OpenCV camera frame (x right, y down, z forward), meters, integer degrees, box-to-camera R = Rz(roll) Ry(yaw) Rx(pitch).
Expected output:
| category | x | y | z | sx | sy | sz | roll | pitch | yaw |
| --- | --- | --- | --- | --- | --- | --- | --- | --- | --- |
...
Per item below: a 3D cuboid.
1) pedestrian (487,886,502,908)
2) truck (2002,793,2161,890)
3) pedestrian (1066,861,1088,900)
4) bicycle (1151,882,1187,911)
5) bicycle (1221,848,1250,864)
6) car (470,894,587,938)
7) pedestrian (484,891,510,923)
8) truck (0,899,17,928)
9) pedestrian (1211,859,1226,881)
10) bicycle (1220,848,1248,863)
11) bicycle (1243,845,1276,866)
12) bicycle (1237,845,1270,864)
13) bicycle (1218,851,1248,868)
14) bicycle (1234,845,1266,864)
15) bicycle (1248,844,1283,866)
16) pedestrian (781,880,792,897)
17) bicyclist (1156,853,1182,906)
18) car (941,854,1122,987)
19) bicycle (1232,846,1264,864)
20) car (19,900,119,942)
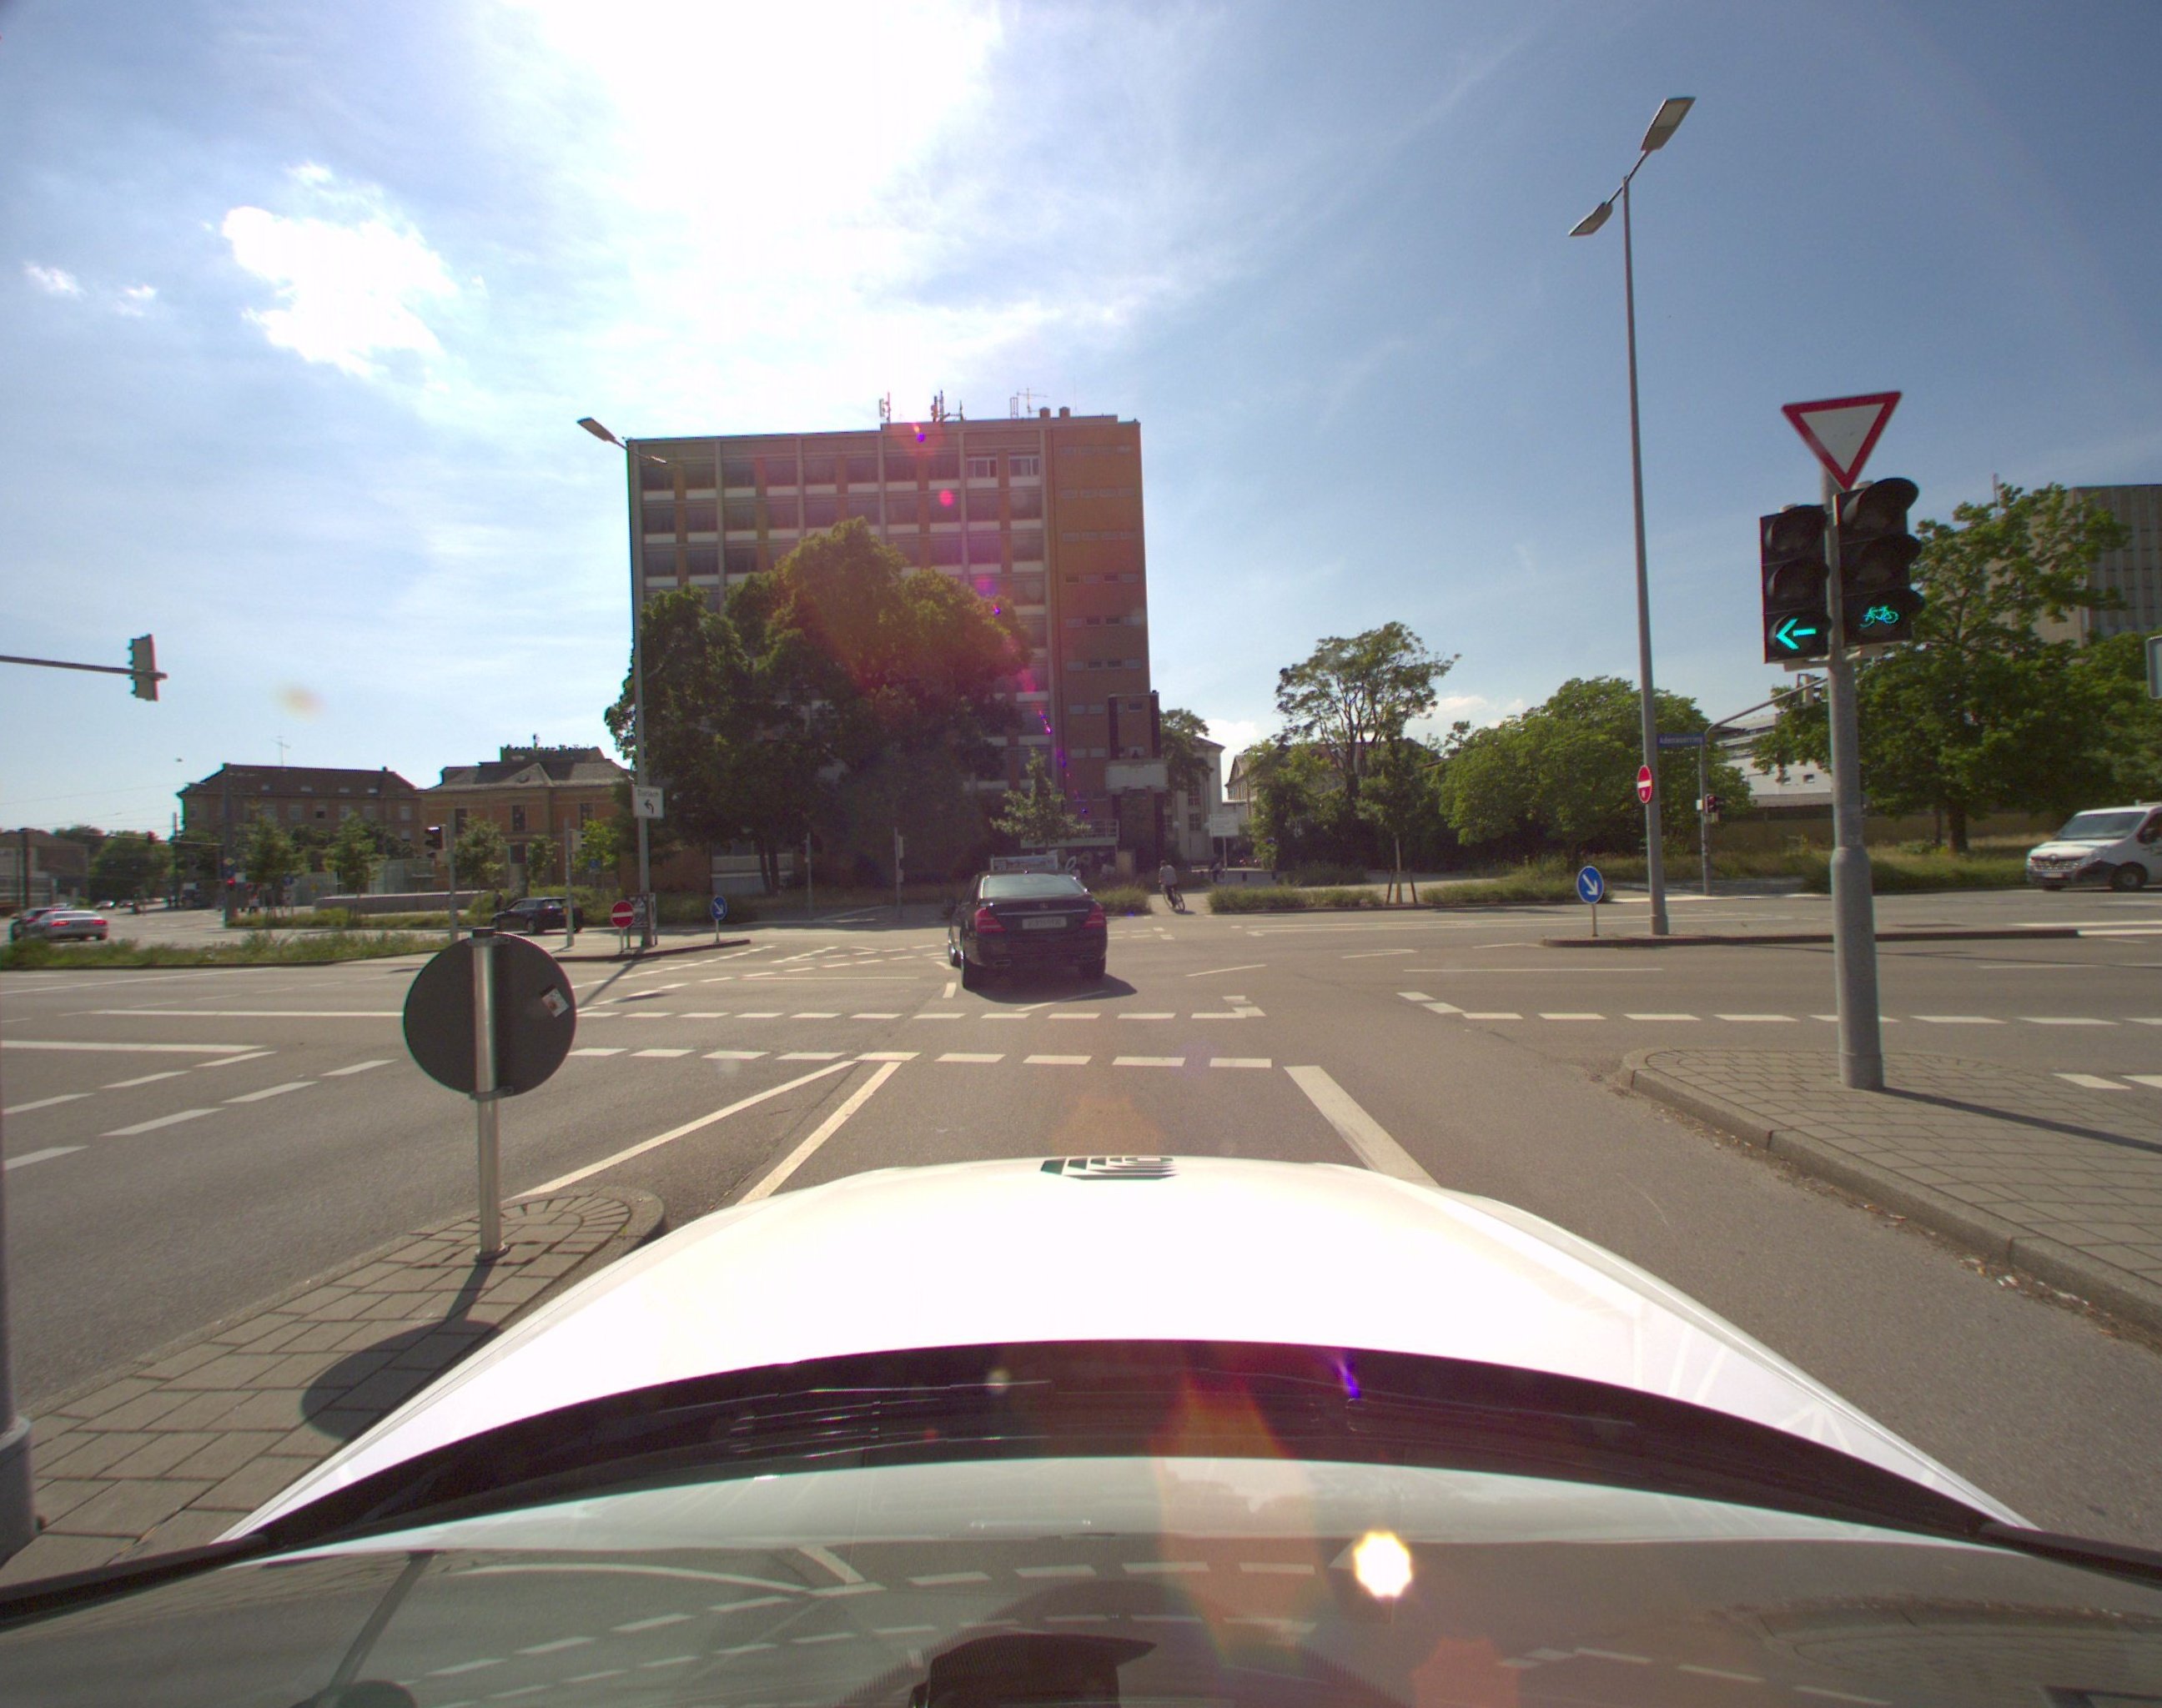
| category | x | y | z | sx | sy | sz | roll | pitch | yaw |
| --- | --- | --- | --- | --- | --- | --- | --- | --- | --- |
| pedestrian | -44.747 | 3.275 | 62.141 | 0.644 | 1.661 | 0.652 | -3 | -1 | 9 |
| truck | 29.272 | -0.413 | 21.455 | 6.997 | 2.356 | 2.414 | -3 | -2 | 2 |
| pedestrian | -0.181 | 1.122 | 34.637 | 0.808 | 1.579 | 0.693 | -3 | -1 | 3 |
| bicycle | 3.150 | 1.504 | 29.282 | 0.693 | 0.946 | 1.950 | 0 | 0 | -12 |
| bicycle | 16.115 | 0.186 | 84.887 | 2.813 | 1.500 | 0.842 | -3 | 0 | 0 |
| car | -21.013 | 2.344 | 30.962 | 3.951 | 1.510 | 1.810 | -3 | -2 | 23 |
| pedestrian | -32.457 | 2.942 | 45.245 | 0.790 | 1.725 | 0.878 | -3 | -1 | 24 |
| truck | -140.838 | 7.752 | 104.505 | 3.087 | 3.730 | 7.842 | -2 | -1 | -36 |
| pedestrian | 7.501 | 0.871 | 44.332 | 0.788 | 1.214 | 0.759 | 0 | -1 | 8 |
| bicycle | 16.148 | 0.164 | 86.075 | 2.813 | 1.480 | 0.842 | -3 | 0 | 0 |
| bicycle | 16.224 | 0.108 | 74.115 | 2.813 | 1.744 | 0.842 | -3 | 0 | 0 |
| bicycle | 15.999 | 0.049 | 75.618 | 2.813 | 1.649 | 0.842 | -3 | 0 | 0 |
| bicycle | 15.388 | 0.549 | 82.682 | 2.813 | 1.559 | 0.842 | -3 | 0 | 0 |
| bicycle | 15.934 | 0.045 | 76.699 | 2.813 | 1.659 | 0.842 | -3 | 1 | 0 |
| bicycle | 16.288 | 0.084 | 71.853 | 2.813 | 1.836 | 0.842 | -3 | 0 | 0 |
| pedestrian | -16.106 | 1.892 | 44.525 | 0.425 | 0.892 | 0.394 | -3 | -1 | 11 |
| bicyclist | 3.147 | 0.905 | 29.173 | 0.686 | 1.878 | 0.856 | -1 | -1 | -13 |
| car | -0.960 | 0.879 | 11.902 | 1.861 | 1.530 | 4.690 | 0 | -3 | -14 |
| bicycle | 15.905 | 0.089 | 77.650 | 2.813 | 1.587 | 0.842 | -3 | 0 | 0 |
| car | -48.639 | 3.218 | 39.143 | 3.951 | 1.816 | 2.011 | -3 | -1 | 24 |
